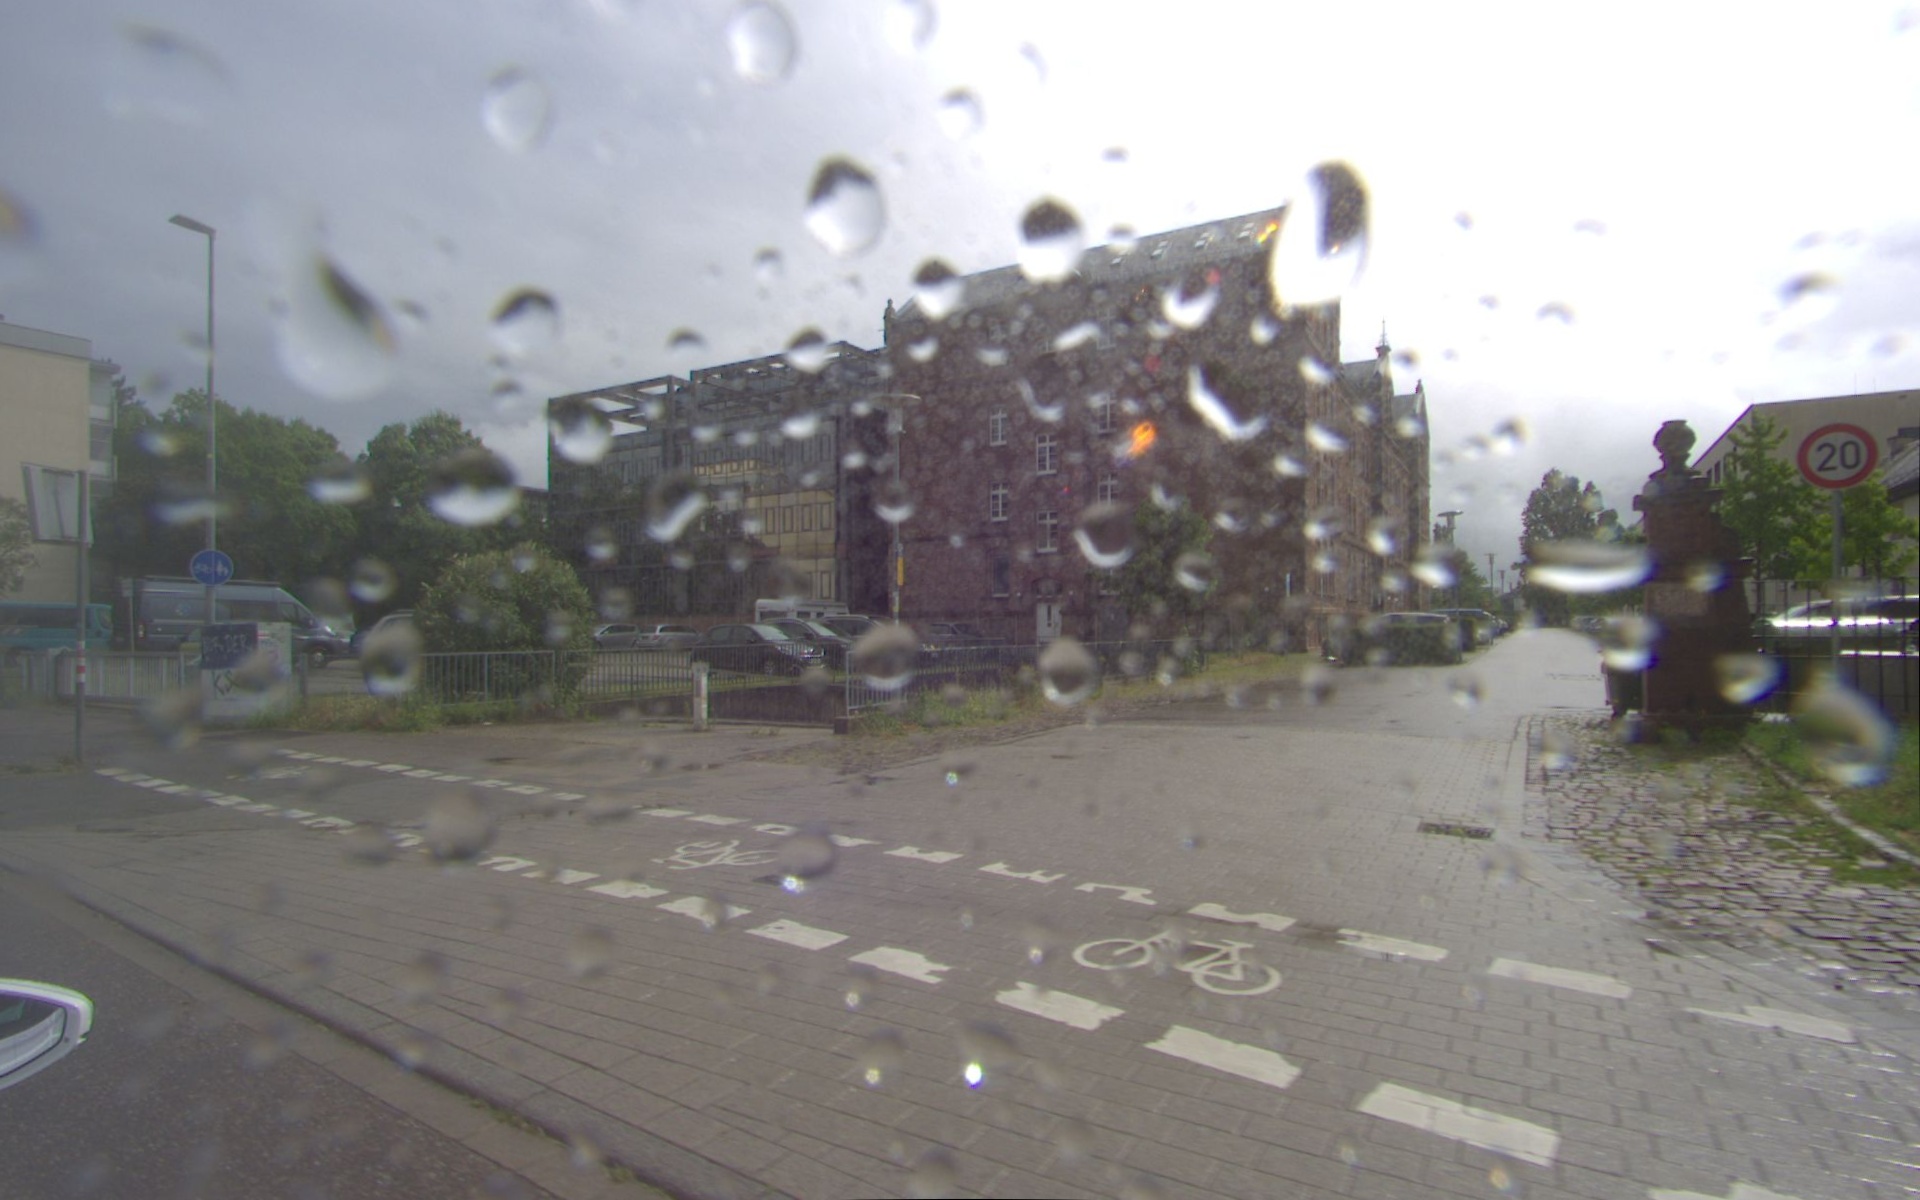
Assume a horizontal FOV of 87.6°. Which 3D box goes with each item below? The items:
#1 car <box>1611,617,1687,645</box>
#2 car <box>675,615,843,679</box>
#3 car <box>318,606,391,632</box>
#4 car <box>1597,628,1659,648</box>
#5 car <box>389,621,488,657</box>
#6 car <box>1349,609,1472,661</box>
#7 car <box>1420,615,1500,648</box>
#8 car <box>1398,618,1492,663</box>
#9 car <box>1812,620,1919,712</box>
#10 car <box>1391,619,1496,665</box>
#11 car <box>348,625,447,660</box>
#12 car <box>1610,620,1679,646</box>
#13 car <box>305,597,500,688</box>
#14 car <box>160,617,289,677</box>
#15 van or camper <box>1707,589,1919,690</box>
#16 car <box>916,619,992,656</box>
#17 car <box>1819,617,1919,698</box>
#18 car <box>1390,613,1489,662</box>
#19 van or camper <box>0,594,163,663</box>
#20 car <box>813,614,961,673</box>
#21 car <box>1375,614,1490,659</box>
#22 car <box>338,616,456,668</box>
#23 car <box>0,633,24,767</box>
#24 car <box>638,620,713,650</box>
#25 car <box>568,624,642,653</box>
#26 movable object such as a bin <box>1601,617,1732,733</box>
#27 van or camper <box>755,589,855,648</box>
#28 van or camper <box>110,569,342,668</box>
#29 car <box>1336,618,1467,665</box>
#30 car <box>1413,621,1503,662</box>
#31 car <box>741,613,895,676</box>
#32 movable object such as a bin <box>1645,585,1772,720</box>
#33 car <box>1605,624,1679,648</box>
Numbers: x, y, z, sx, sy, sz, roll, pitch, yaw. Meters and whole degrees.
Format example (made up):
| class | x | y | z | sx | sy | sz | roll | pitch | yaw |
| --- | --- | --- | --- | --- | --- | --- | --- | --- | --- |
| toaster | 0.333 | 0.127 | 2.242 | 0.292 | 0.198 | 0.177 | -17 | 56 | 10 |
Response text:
| class | x | y | z | sx | sy | sz | roll | pitch | yaw |
| --- | --- | --- | --- | --- | --- | --- | --- | --- | --- |
| car | 38.944 | 1.789 | 56.673 | 3.432 | 1.488 | 1.679 | -2 | -4 | 32 |
| car | -5.336 | 1.192 | 26.326 | 4.363 | 1.547 | 1.824 | -1 | -1 | 35 |
| car | -34.543 | 1.081 | 57.181 | 1.488 | 1.415 | 3.218 | -1 | -1 | 33 |
| car | 52.669 | 3.023 | 79.026 | 3.944 | 1.480 | 1.779 | -2 | -4 | 32 |
| car | -23.577 | 1.745 | 45.388 | 1.616 | 1.506 | 3.659 | -1 | -1 | 33 |
| car | 15.894 | 1.282 | 35.362 | 3.753 | 1.712 | 1.752 | -2 | -4 | 32 |
| car | 27.332 | 1.730 | 54.765 | 3.753 | 1.670 | 1.752 | -2 | -4 | 32 |
| car | 22.589 | 1.932 | 46.632 | 3.753 | 1.995 | 1.752 | -2 | -4 | 32 |
| car | 16.611 | 1.075 | 16.631 | 3.522 | 1.466 | 1.592 | -1 | 0 | 31 |
| car | 20.111 | 1.797 | 41.662 | 3.753 | 1.813 | 1.752 | -2 | -4 | 32 |
| car | -25.732 | 1.911 | 45.886 | 1.616 | 1.506 | 3.659 | -1 | -1 | 33 |
| car | 42.998 | 2.101 | 62.971 | 3.432 | 1.488 | 1.679 | -2 | -4 | 32 |
| car | -11.891 | 0.870 | 21.305 | 4.176 | 1.772 | 1.801 | -1 | -1 | 31 |
| car | -19.104 | 1.188 | 25.987 | 3.369 | 1.467 | 1.607 | -1 | -1 | 33 |
| van or camper | 19.985 | 0.853 | 22.373 | 5.110 | 2.144 | 1.786 | -1 | 0 | 31 |
| car | -0.221 | 1.622 | 43.926 | 1.648 | 1.544 | 3.660 | -1 | -1 | 31 |
| car | 18.469 | 1.052 | 18.633 | 3.522 | 1.466 | 1.592 | -1 | 0 | 31 |
| car | 21.225 | 1.703 | 44.330 | 3.753 | 2.031 | 1.752 | -2 | -4 | 32 |
| van or camper | -30.161 | 0.948 | 33.724 | 2.289 | 2.159 | 4.750 | -1 | -1 | 33 |
| car | -2.286 | 1.314 | 31.072 | 4.360 | 1.701 | 1.850 | -1 | -1 | 32 |
| car | 18.065 | 1.434 | 38.320 | 3.753 | 1.631 | 1.752 | -2 | -4 | 32 |
| car | -17.310 | 1.281 | 30.768 | 3.666 | 1.505 | 1.645 | -1 | -1 | 33 |
| car | -13.431 | 1.226 | 12.120 | 4.311 | 1.560 | 1.772 | -1 | 1 | 28 |
| car | -14.874 | 1.811 | 52.434 | 1.648 | 1.505 | 3.661 | -1 | -2 | 31 |
| car | -19.459 | 2.104 | 54.967 | 1.648 | 1.505 | 3.661 | -1 | -2 | 31 |
| movable object such as a bin | 9.619 | 0.980 | 13.718 | 1.370 | 1.476 | 1.104 | -1 | 0 | 31 |
| van or camper | -7.186 | 0.927 | 46.939 | 2.224 | 2.516 | 4.785 | -2 | -4 | 29 |
| van or camper | -21.082 | 0.593 | 29.014 | 2.143 | 2.586 | 4.992 | -2 | -2 | 31 |
| car | 14.549 | 1.404 | 33.044 | 3.753 | 1.470 | 1.752 | -2 | -4 | 32 |
| car | 24.207 | 2.054 | 48.697 | 3.753 | 1.922 | 1.752 | -2 | -4 | 32 |
| car | -4.159 | 1.244 | 28.987 | 4.365 | 1.701 | 1.847 | -1 | -1 | 36 |
| movable object such as a bin | 8.592 | 0.583 | 11.550 | 1.081 | 1.476 | 0.798 | -1 | 1 | 31 |
| car | 45.140 | 2.388 | 66.394 | 3.944 | 1.480 | 1.779 | -2 | -4 | 32 |
